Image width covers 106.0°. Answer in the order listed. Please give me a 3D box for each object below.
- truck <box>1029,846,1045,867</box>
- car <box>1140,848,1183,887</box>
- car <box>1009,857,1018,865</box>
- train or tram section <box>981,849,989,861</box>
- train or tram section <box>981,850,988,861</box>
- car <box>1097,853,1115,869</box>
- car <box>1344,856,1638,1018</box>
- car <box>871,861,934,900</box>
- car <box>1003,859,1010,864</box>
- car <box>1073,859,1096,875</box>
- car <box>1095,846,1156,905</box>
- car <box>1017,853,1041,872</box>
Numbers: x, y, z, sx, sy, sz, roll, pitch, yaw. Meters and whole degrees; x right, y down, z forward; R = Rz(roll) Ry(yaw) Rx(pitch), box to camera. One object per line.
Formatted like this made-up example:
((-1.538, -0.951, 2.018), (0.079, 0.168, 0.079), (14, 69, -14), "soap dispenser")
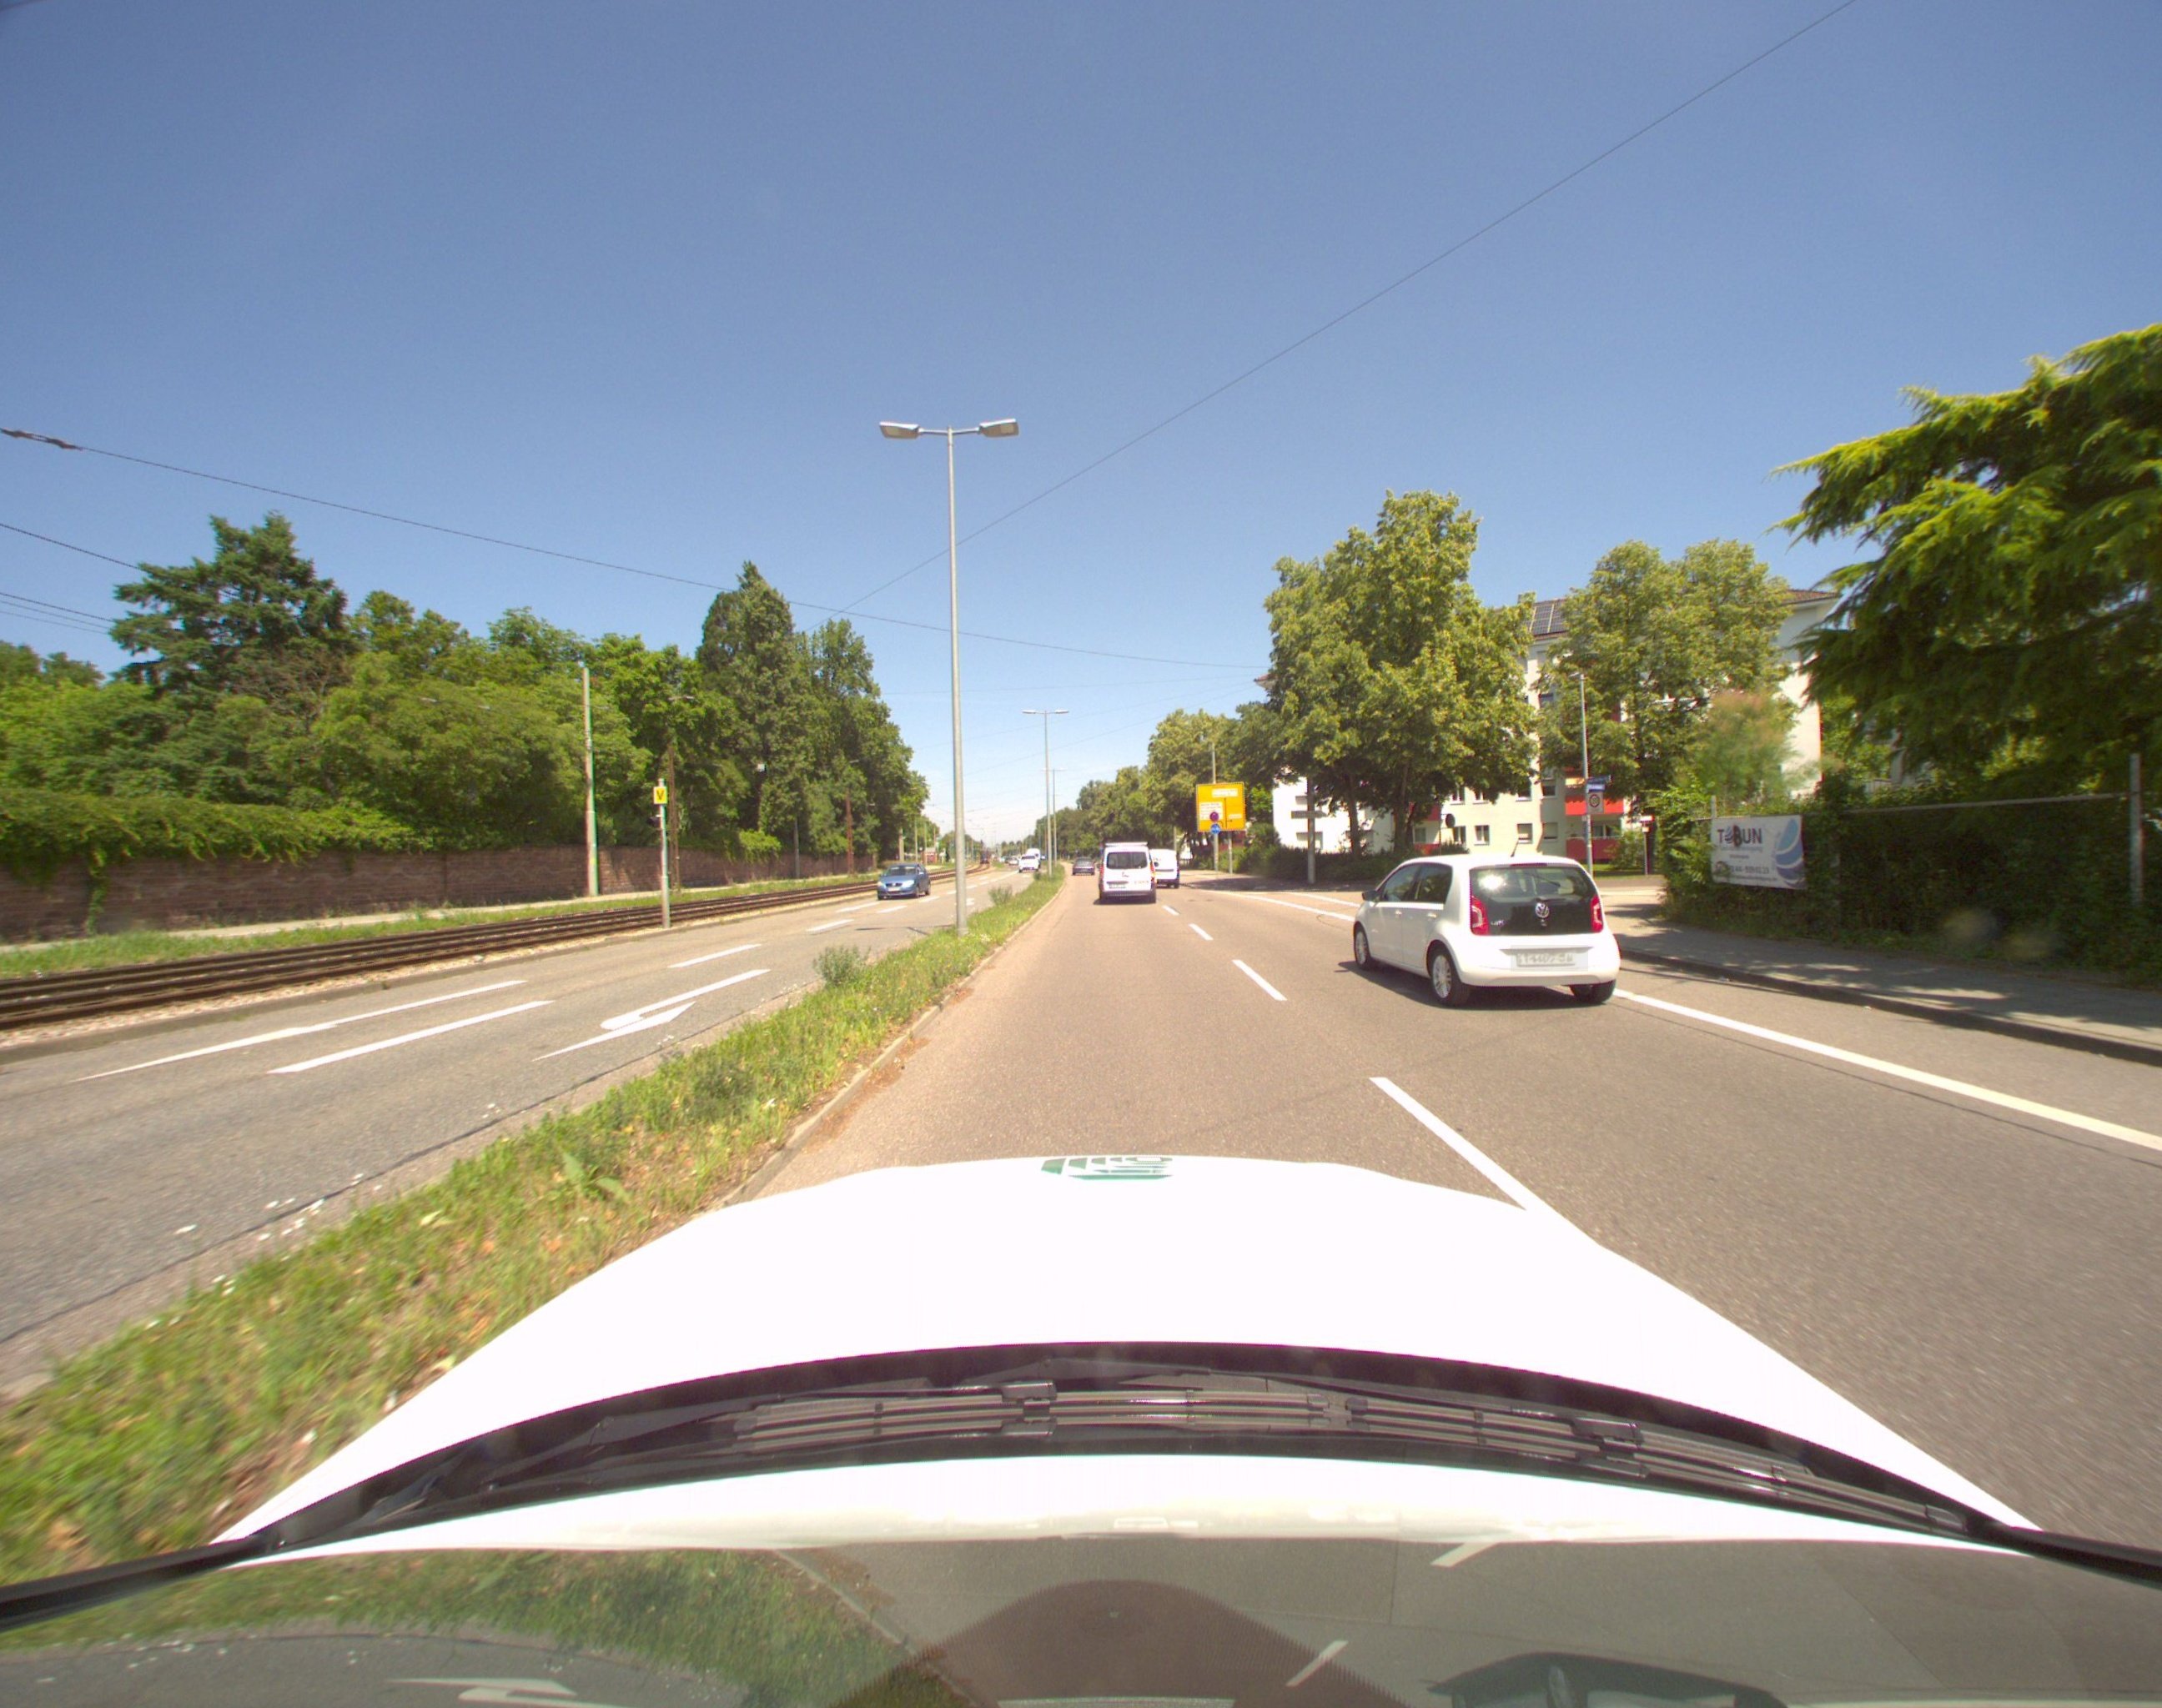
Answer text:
((-6.931, 0.352, 127.822), (1.986, 3.213, 5.313), (-2, 0, 1), "truck")
((3.749, 0.611, 38.573), (1.721, 1.788, 4.065), (0, 0, 1), "car")
((-13.344, 1.283, 160.599), (1.743, 1.567, 3.995), (0, 0, -3), "car")
((-25.645, 0.290, 216.767), (1.992, 3.086, 16.126), (0, 0, -7), "train or tram section")
((-27.808, 0.420, 234.421), (1.992, 3.086, 19.450), (0, 0, -7), "train or tram section")
((2.517, 0.683, 81.229), (1.828, 1.568, 4.002), (0, 1, 2), "car")
((4.326, 0.767, 9.205), (1.604, 1.447, 3.435), (0, 0, 0), "car")
((-7.445, 1.078, 34.327), (1.692, 1.439, 3.999), (-2, 0, 0), "car")
((-19.883, 2.017, 218.569), (1.743, 1.567, 3.995), (0, 0, -3), "car")
((0.293, 0.969, 63.293), (1.686, 1.215, 3.590), (0, 0, 1), "car")
((1.416, 0.626, 26.441), (1.814, 1.739, 4.398), (0, 0, 2), "car")
((-5.119, 0.835, 80.603), (1.986, 1.816, 4.001), (-2, 0, 1), "car")
